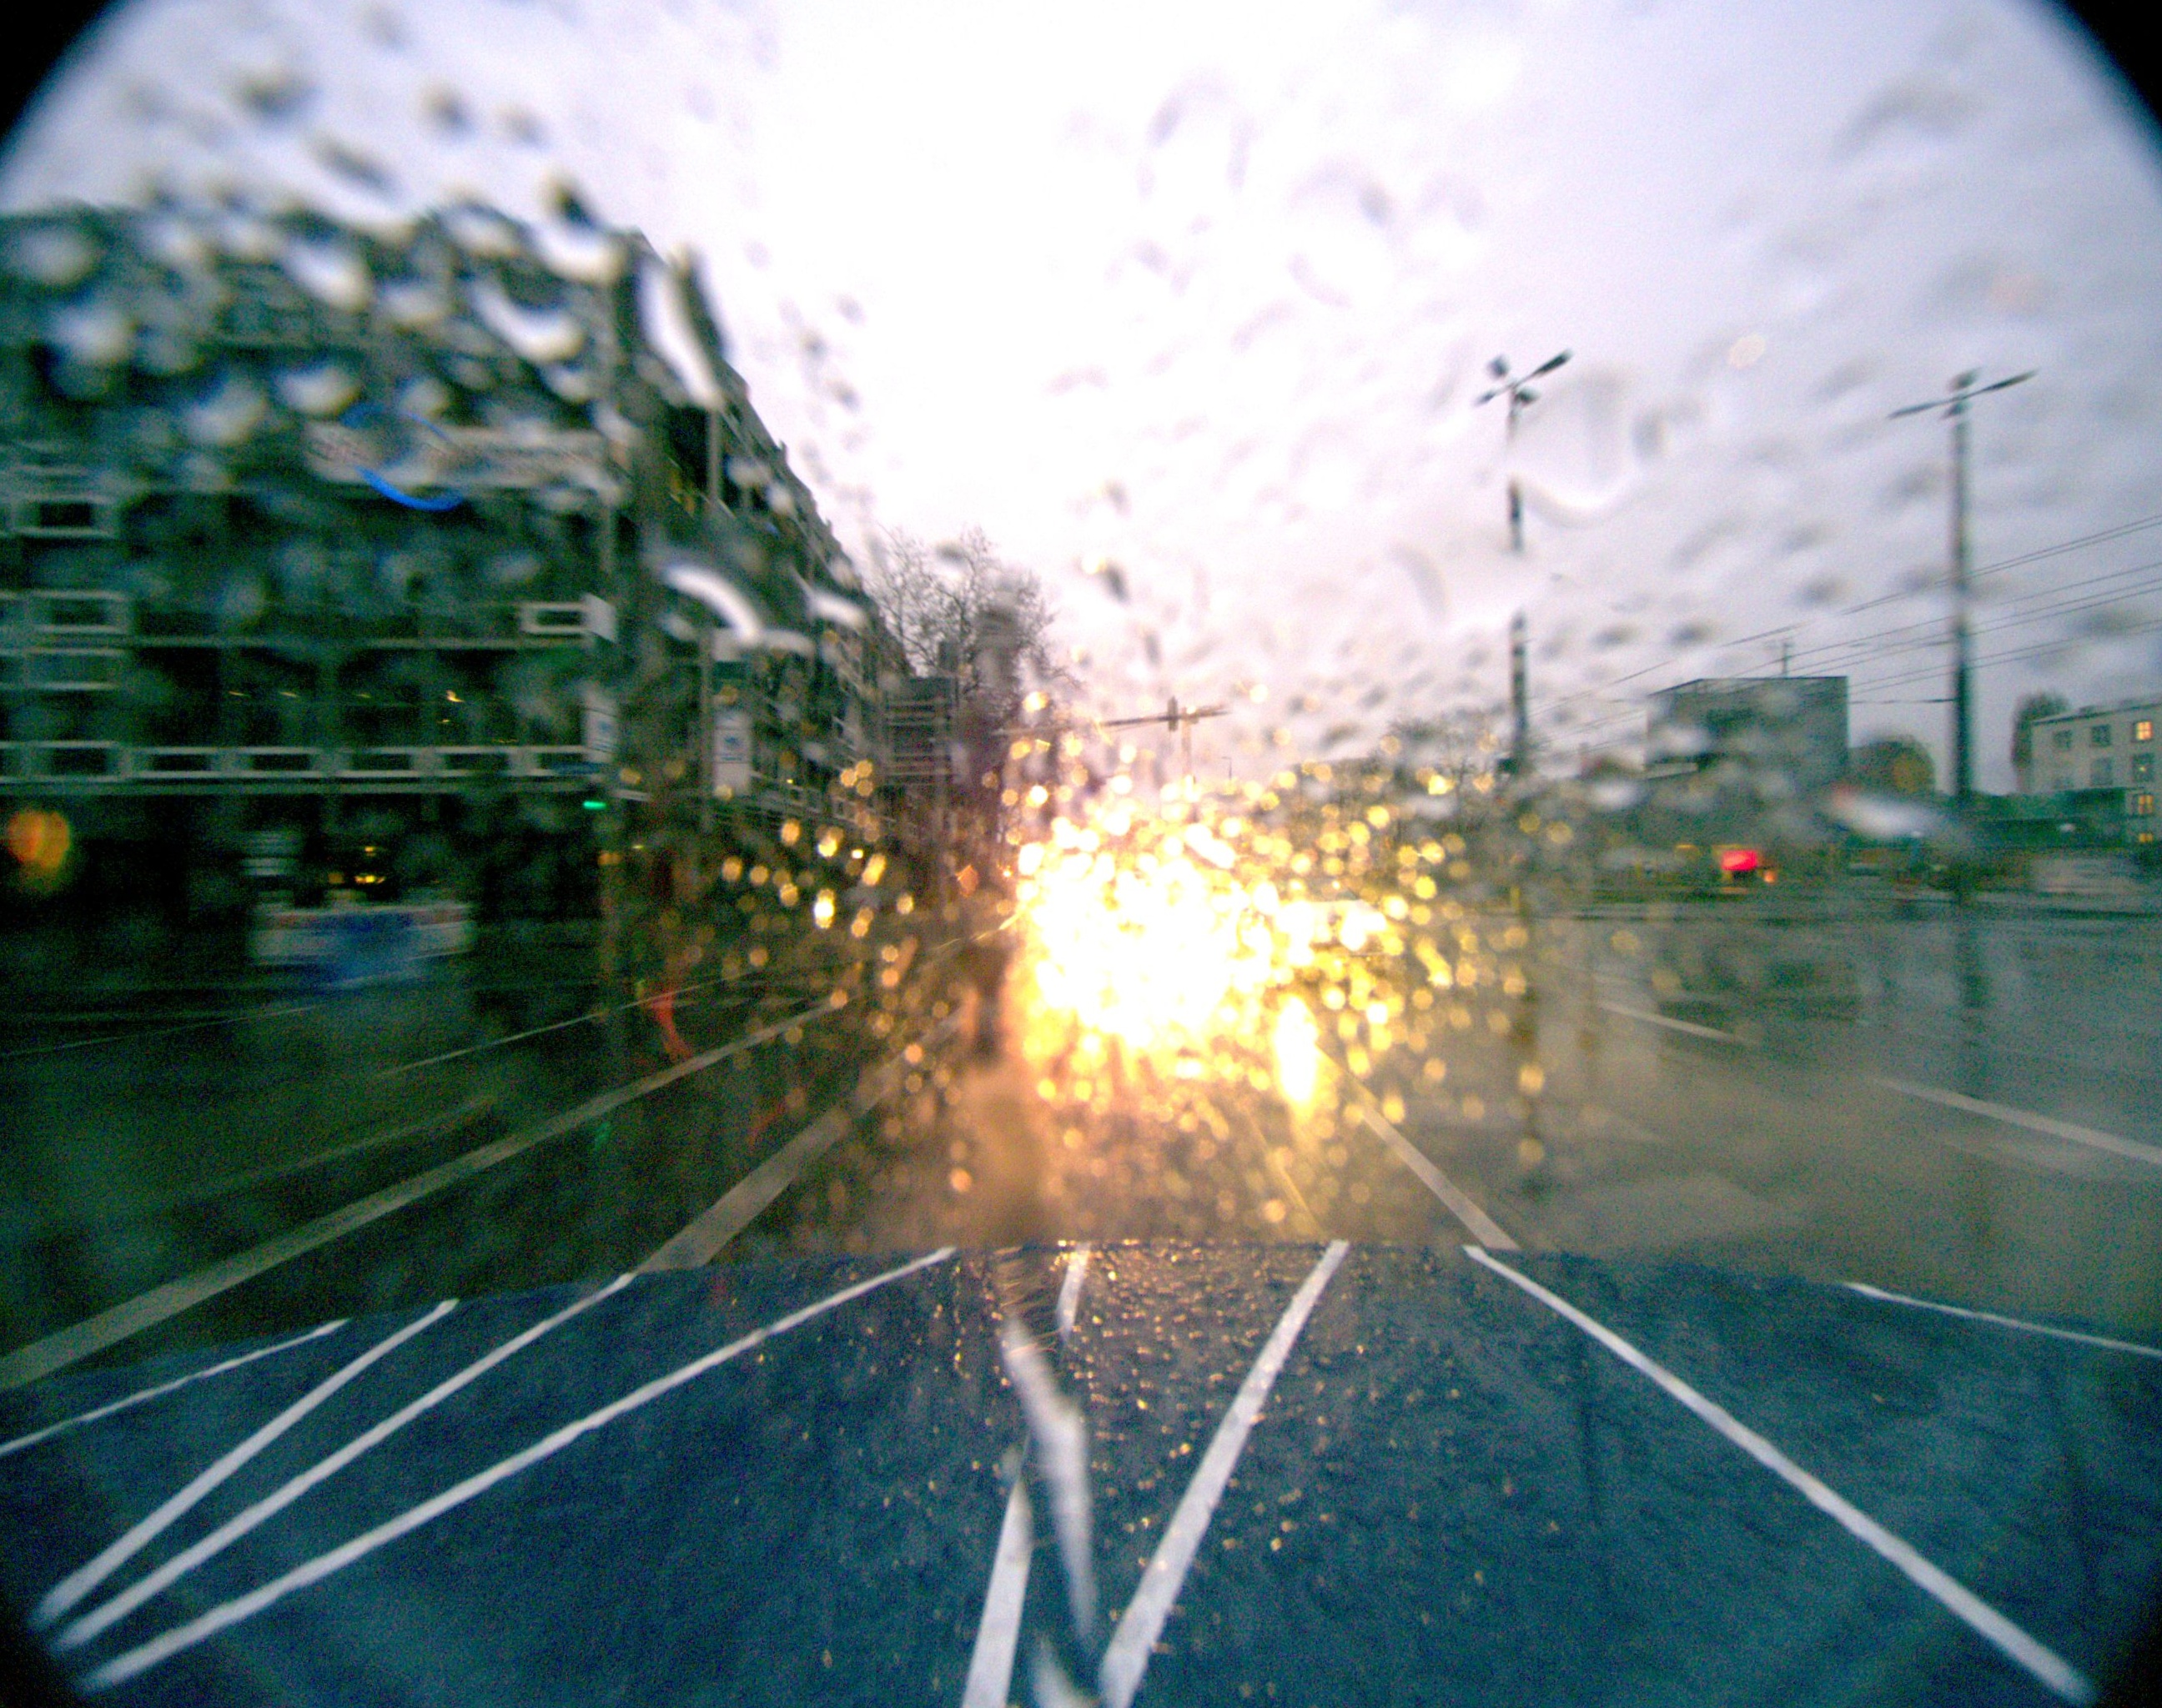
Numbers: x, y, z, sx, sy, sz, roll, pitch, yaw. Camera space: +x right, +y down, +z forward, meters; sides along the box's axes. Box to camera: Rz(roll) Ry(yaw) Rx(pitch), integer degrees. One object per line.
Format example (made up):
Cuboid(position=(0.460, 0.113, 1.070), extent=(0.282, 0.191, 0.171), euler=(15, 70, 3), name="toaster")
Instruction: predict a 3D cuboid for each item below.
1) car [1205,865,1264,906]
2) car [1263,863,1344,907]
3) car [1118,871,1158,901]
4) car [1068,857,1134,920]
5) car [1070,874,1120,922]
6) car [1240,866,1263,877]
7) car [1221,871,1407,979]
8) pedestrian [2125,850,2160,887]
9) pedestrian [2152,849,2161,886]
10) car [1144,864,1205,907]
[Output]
Cuboid(position=(7.603, 1.558, 38.051), extent=(1.953, 1.870, 4.000), euler=(-3, -1, -2), name="car")
Cuboid(position=(8.486, 1.172, 29.329), extent=(1.800, 1.520, 3.928), euler=(-3, -1, -2), name="car")
Cuboid(position=(3.419, 1.890, 46.381), extent=(1.868, 1.652, 3.986), euler=(-1, 0, -3), name="car")
Cuboid(position=(0.596, 1.094, 25.440), extent=(1.865, 1.866, 3.999), euler=(-2, -1, -3), name="car")
Cuboid(position=(0.599, 2.023, 35.734), extent=(1.999, 2.001, 3.999), euler=(-1, 0, -4), name="car")
Cuboid(position=(22.165, 2.249, 98.789), extent=(1.785, 1.411, 3.881), euler=(-2, -1, -4), name="car")
Cuboid(position=(3.690, 1.054, 12.847), extent=(1.814, 1.464, 4.139), euler=(-2, -1, 0), name="car")
Cuboid(position=(47.242, 0.649, 33.831), extent=(0.655, 1.655, 0.743), euler=(-1, 0, 32), name="pedestrian")
Cuboid(position=(47.774, 0.584, 33.326), extent=(0.655, 1.651, 0.743), euler=(-1, 0, 32), name="pedestrian")
Cuboid(position=(3.998, 1.332, 33.204), extent=(1.999, 1.673, 4.000), euler=(-2, -1, -2), name="car")
